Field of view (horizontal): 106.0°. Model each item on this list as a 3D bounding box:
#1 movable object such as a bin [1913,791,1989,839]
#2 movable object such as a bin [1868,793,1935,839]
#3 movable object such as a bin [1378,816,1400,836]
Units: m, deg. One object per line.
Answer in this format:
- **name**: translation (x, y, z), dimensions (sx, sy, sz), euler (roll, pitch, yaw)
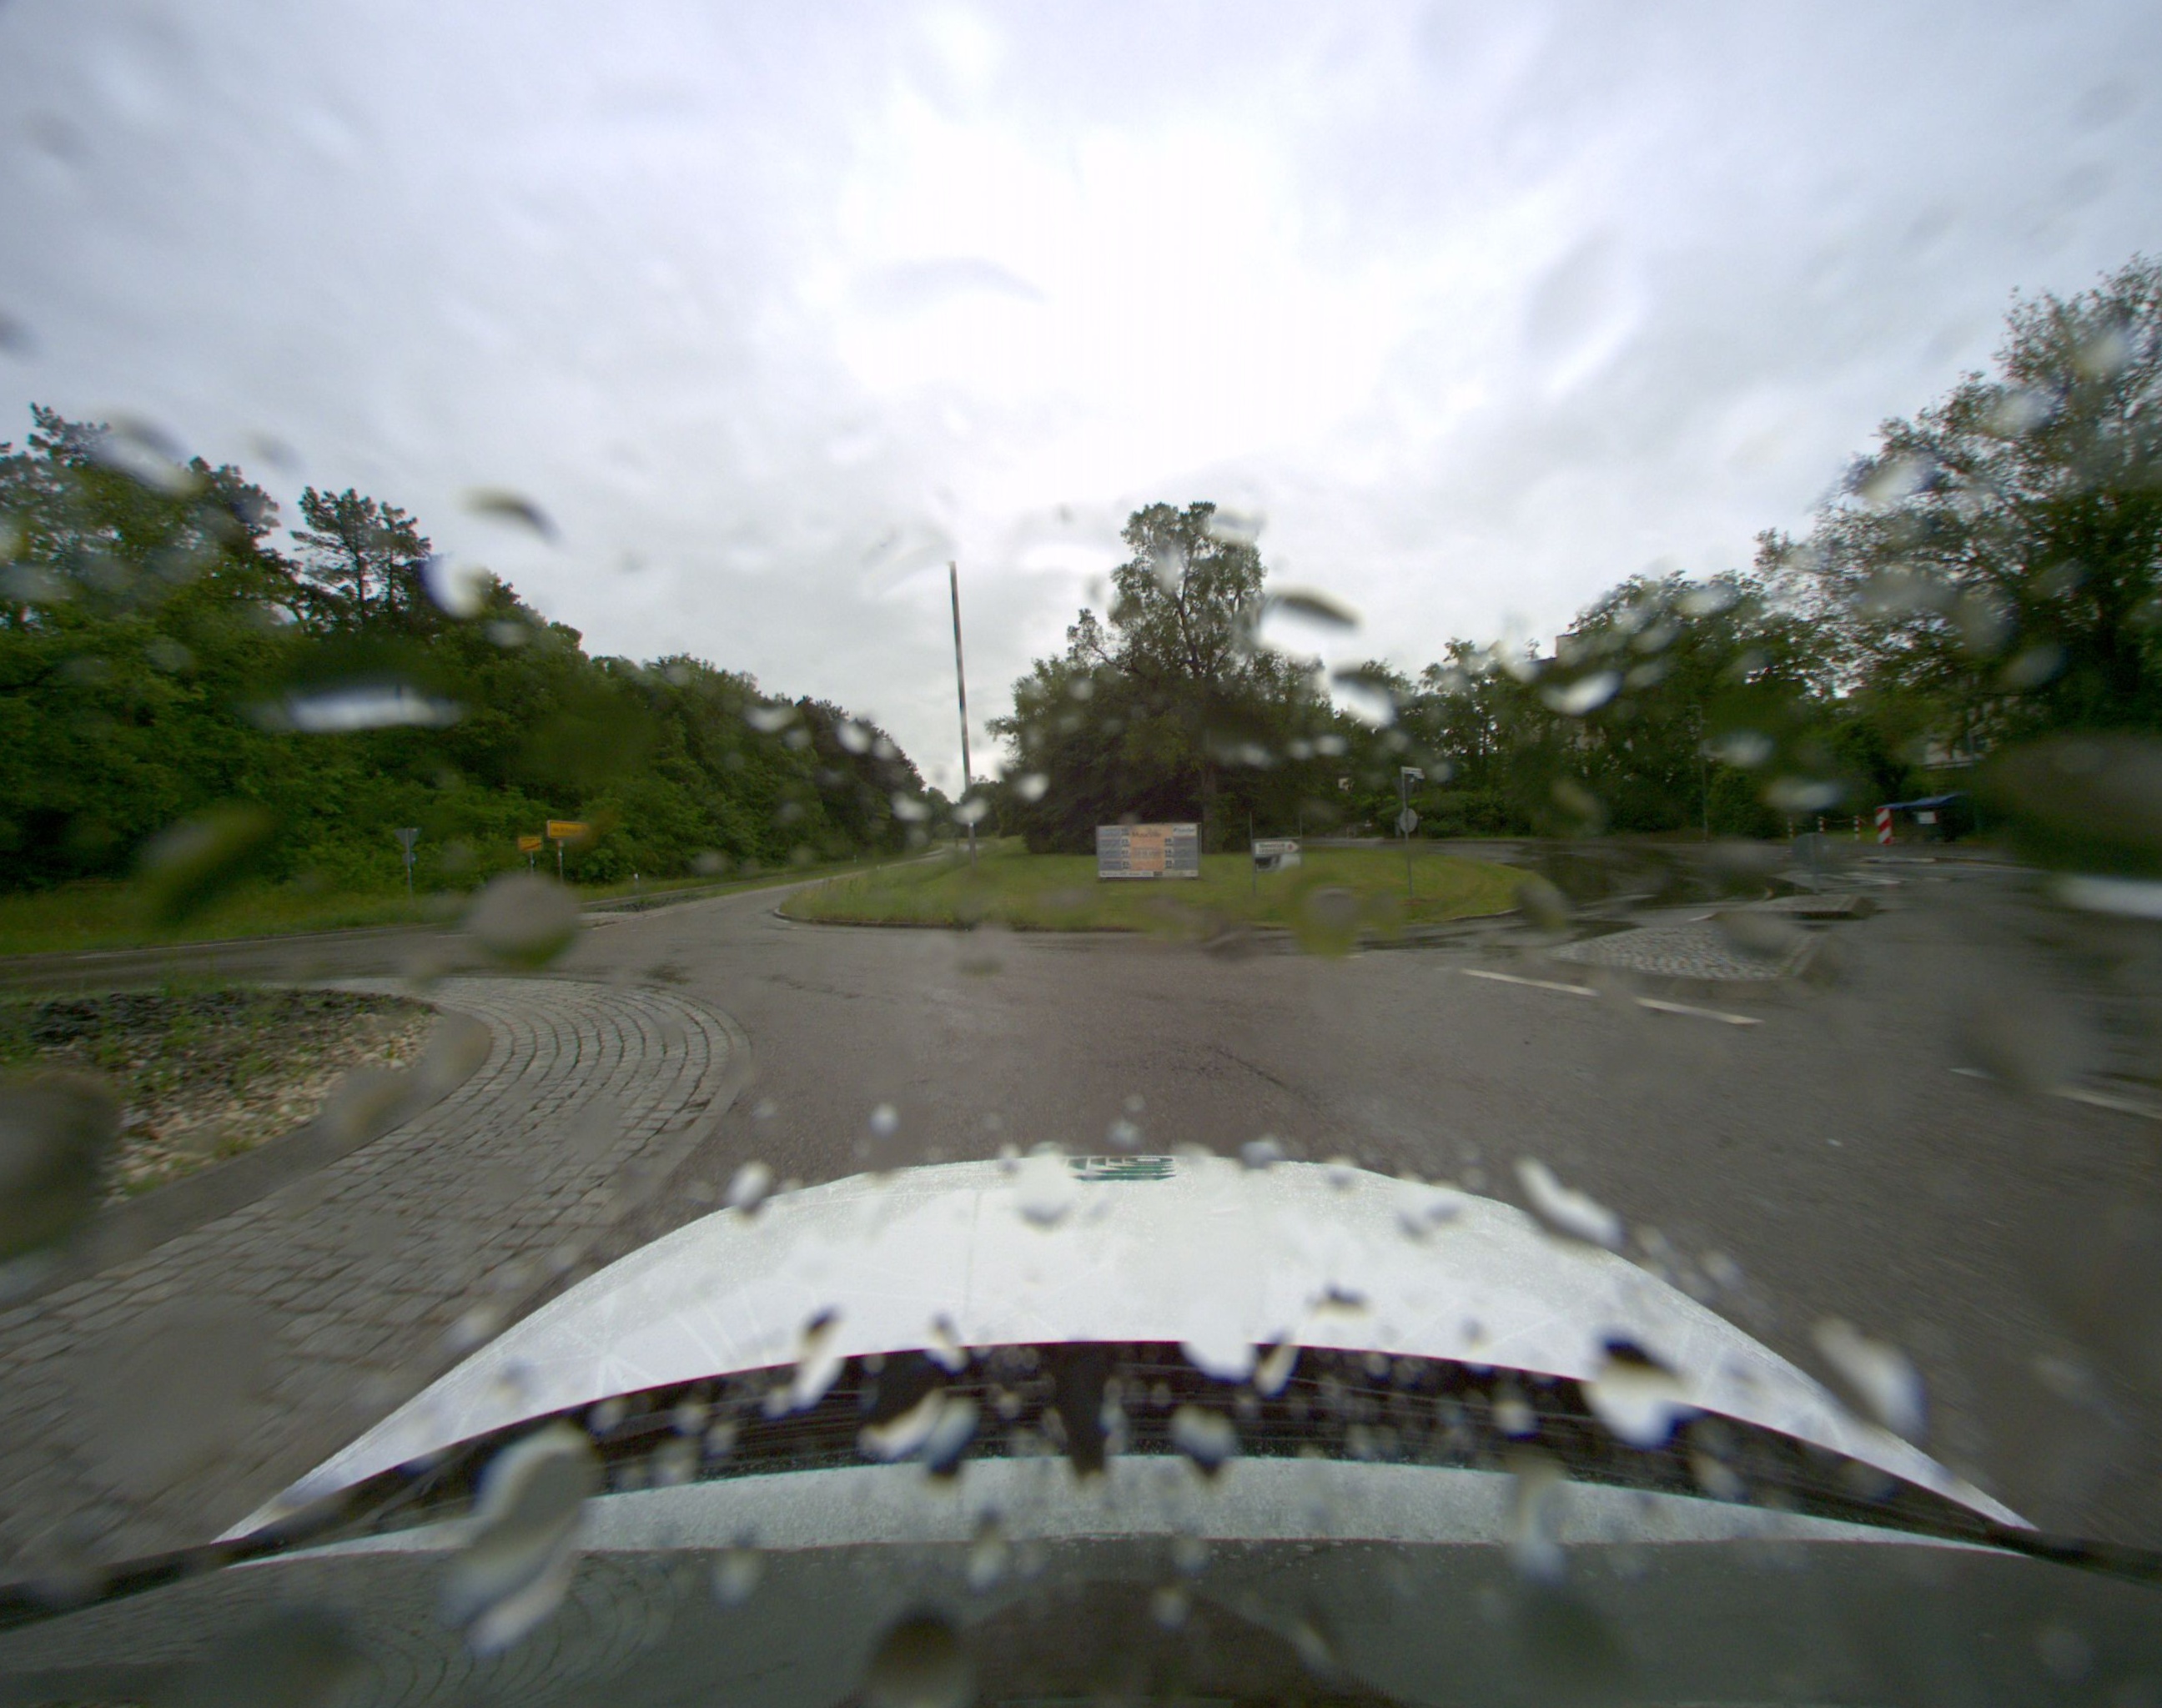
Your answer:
- **movable object such as a bin**: translation (27.666, -1.224, 25.918), dimensions (1.184, 1.342, 1.080), euler (-6, -1, 19)
- **movable object such as a bin**: translation (27.628, -1.273, 27.457), dimensions (1.184, 1.437, 1.080), euler (-4, 0, 19)
- **movable object such as a bin**: translation (24.123, -2.189, 63.773), dimensions (1.189, 1.437, 1.430), euler (-3, 1, 3)
